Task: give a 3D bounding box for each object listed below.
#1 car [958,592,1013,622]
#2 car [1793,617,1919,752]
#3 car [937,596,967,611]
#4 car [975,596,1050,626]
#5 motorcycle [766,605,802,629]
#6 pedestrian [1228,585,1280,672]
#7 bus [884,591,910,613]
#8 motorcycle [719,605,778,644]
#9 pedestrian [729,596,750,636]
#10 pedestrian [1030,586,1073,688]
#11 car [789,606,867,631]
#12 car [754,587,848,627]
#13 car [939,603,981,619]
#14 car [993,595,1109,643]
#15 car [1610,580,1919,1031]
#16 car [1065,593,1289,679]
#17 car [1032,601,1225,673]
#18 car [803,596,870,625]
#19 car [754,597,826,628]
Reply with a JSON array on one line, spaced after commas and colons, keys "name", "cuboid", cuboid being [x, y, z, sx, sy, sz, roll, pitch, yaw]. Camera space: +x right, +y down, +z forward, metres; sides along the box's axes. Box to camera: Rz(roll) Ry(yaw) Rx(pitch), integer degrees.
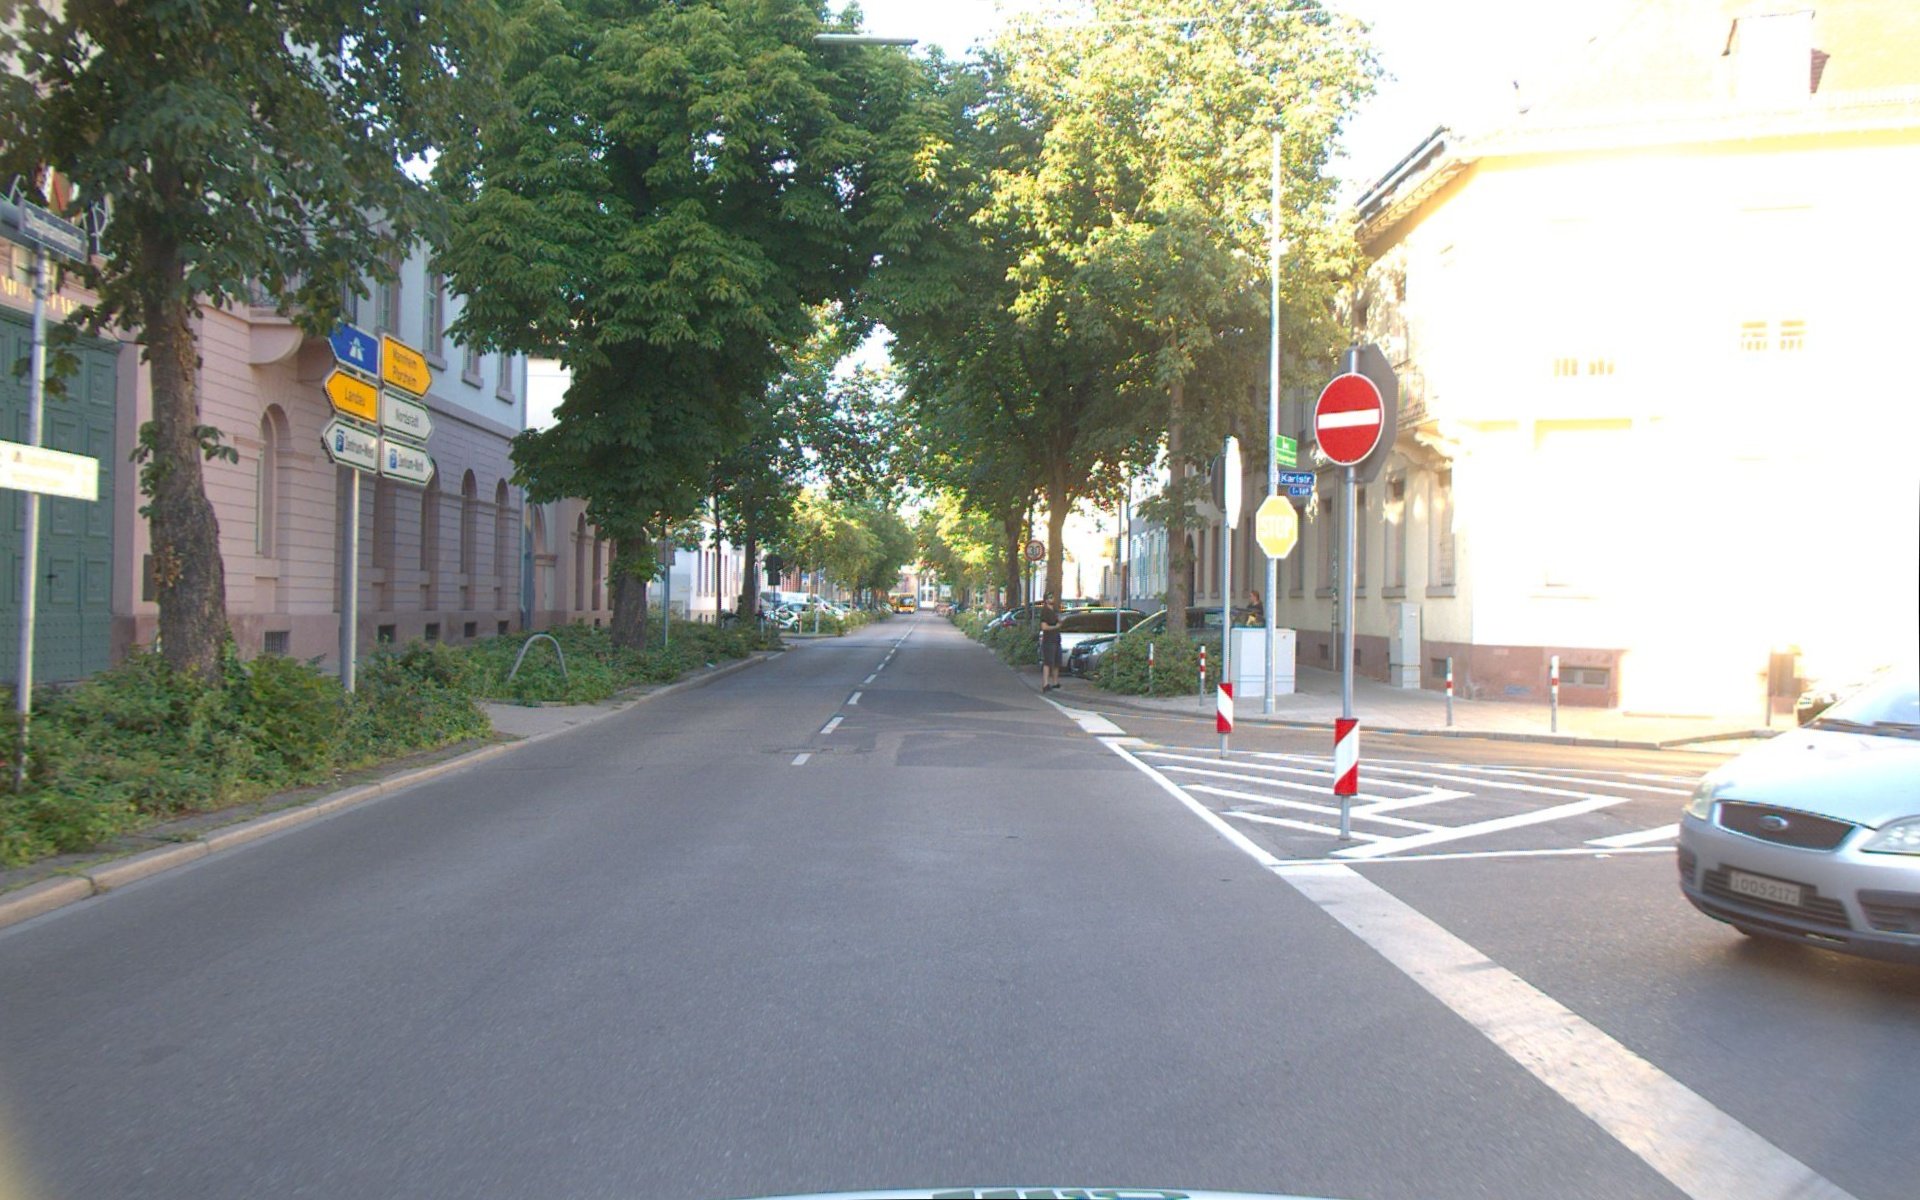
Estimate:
[{"name": "car", "cuboid": [1.897, 0.506, 119.871, 3.904, 2.049, 2.000, 1, 0, 2]}, {"name": "car", "cuboid": [12.527, 1.032, 19.967, 4.322, 1.570, 1.865, 1, 0, 25]}, {"name": "car", "cuboid": [-1.065, 0.499, 223.379, 3.902, 1.870, 2.001, 1, 0, 6]}, {"name": "car", "cuboid": [3.158, 0.647, 101.054, 4.499, 1.792, 2.222, 0, 0, 0]}, {"name": "motorcycle", "cuboid": [-8.086, 0.780, 76.051, 1.603, 1.087, 0.656, 1, 0, -1]}, {"name": "pedestrian", "cuboid": [6.022, 0.572, 33.913, 0.924, 1.736, 0.782, 1, 1, 0]}, {"name": "bus", "cuboid": [-9.925, 0.269, 259.168, 2.972, 3.246, 9.382, 1, 0, -9]}, {"name": "motorcycle", "cuboid": [-7.086, 0.809, 55.467, 1.880, 1.281, 0.590, 1, 0, -2]}, {"name": "pedestrian", "cuboid": [-8.126, 0.592, 60.909, 0.641, 1.419, 0.607, 2, -1, -1]}, {"name": "pedestrian", "cuboid": [1.743, 0.693, 31.402, 0.777, 1.901, 0.752, 1, 0, 4]}, {"name": "car", "cuboid": [-8.810, 1.224, 110.688, 4.959, 1.645, 2.264, 0, 0, 2]}, {"name": "car", "cuboid": [-8.675, 0.369, 90.628, 4.962, 2.119, 2.262, 0, 0, -2]}, {"name": "car", "cuboid": [-0.004, 1.026, 155.452, 3.907, 1.467, 1.696, 0, 0, -3]}, {"name": "car", "cuboid": [3.168, 0.665, 58.232, 3.934, 1.651, 1.780, 0, 0, -2]}, {"name": "car", "cuboid": [5.373, 0.801, 7.603, 4.273, 1.683, 1.875, 1, 0, -20]}, {"name": "car", "cuboid": [4.143, 0.669, 32.023, 4.025, 1.516, 1.849, 1, 1, -2]}, {"name": "car", "cuboid": [3.720, 0.809, 36.980, 4.107, 1.506, 1.852, -1, 0, -1]}, {"name": "car", "cuboid": [-9.443, 0.802, 126.933, 4.960, 2.119, 2.263, 0, 0, 0]}, {"name": "car", "cuboid": [-8.746, 0.632, 85.231, 3.653, 1.534, 1.871, 0, 0, -5]}]
